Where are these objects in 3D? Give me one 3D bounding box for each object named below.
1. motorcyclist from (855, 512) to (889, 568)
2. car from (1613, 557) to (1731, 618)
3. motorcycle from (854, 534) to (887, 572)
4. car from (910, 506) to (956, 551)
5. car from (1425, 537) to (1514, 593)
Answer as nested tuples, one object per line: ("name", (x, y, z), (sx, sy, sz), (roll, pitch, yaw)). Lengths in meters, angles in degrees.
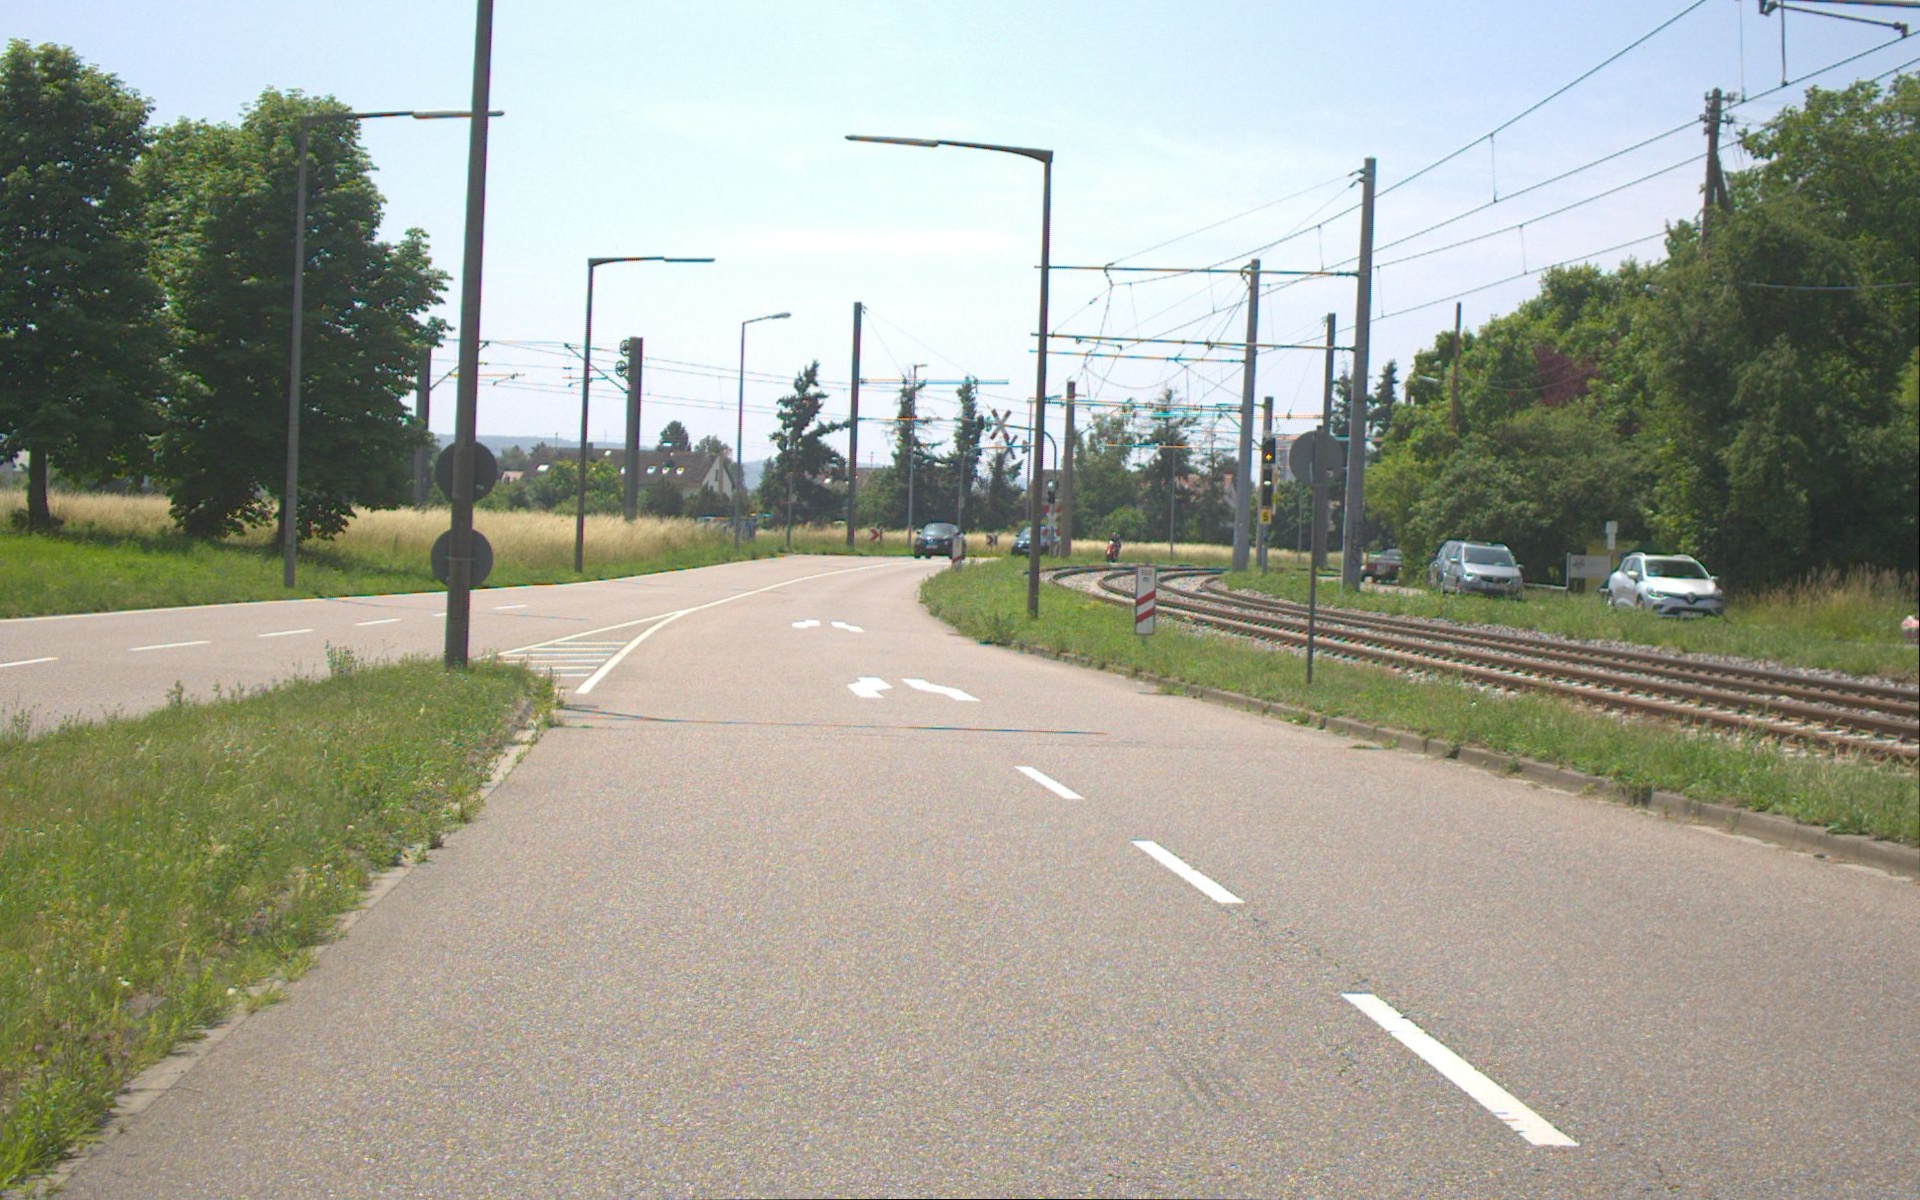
("motorcyclist", (-3.844, -2.599, 149.820), (1.231, 2.343, 1.106), (4, 0, 5))
("car", (14.765, -0.275, 71.452), (1.562, 1.175, 3.080), (2, 1, -5))
("motorcycle", (-3.893, -2.030, 149.951), (0.989, 1.575, 3.400), (4, 1, 4))
("car", (-1.151, -3.078, 148.220), (1.404, 1.765, 3.253), (4, 0, 8))
("car", (14.039, -0.974, 94.939), (1.671, 1.392, 3.651), (4, 1, -3))
